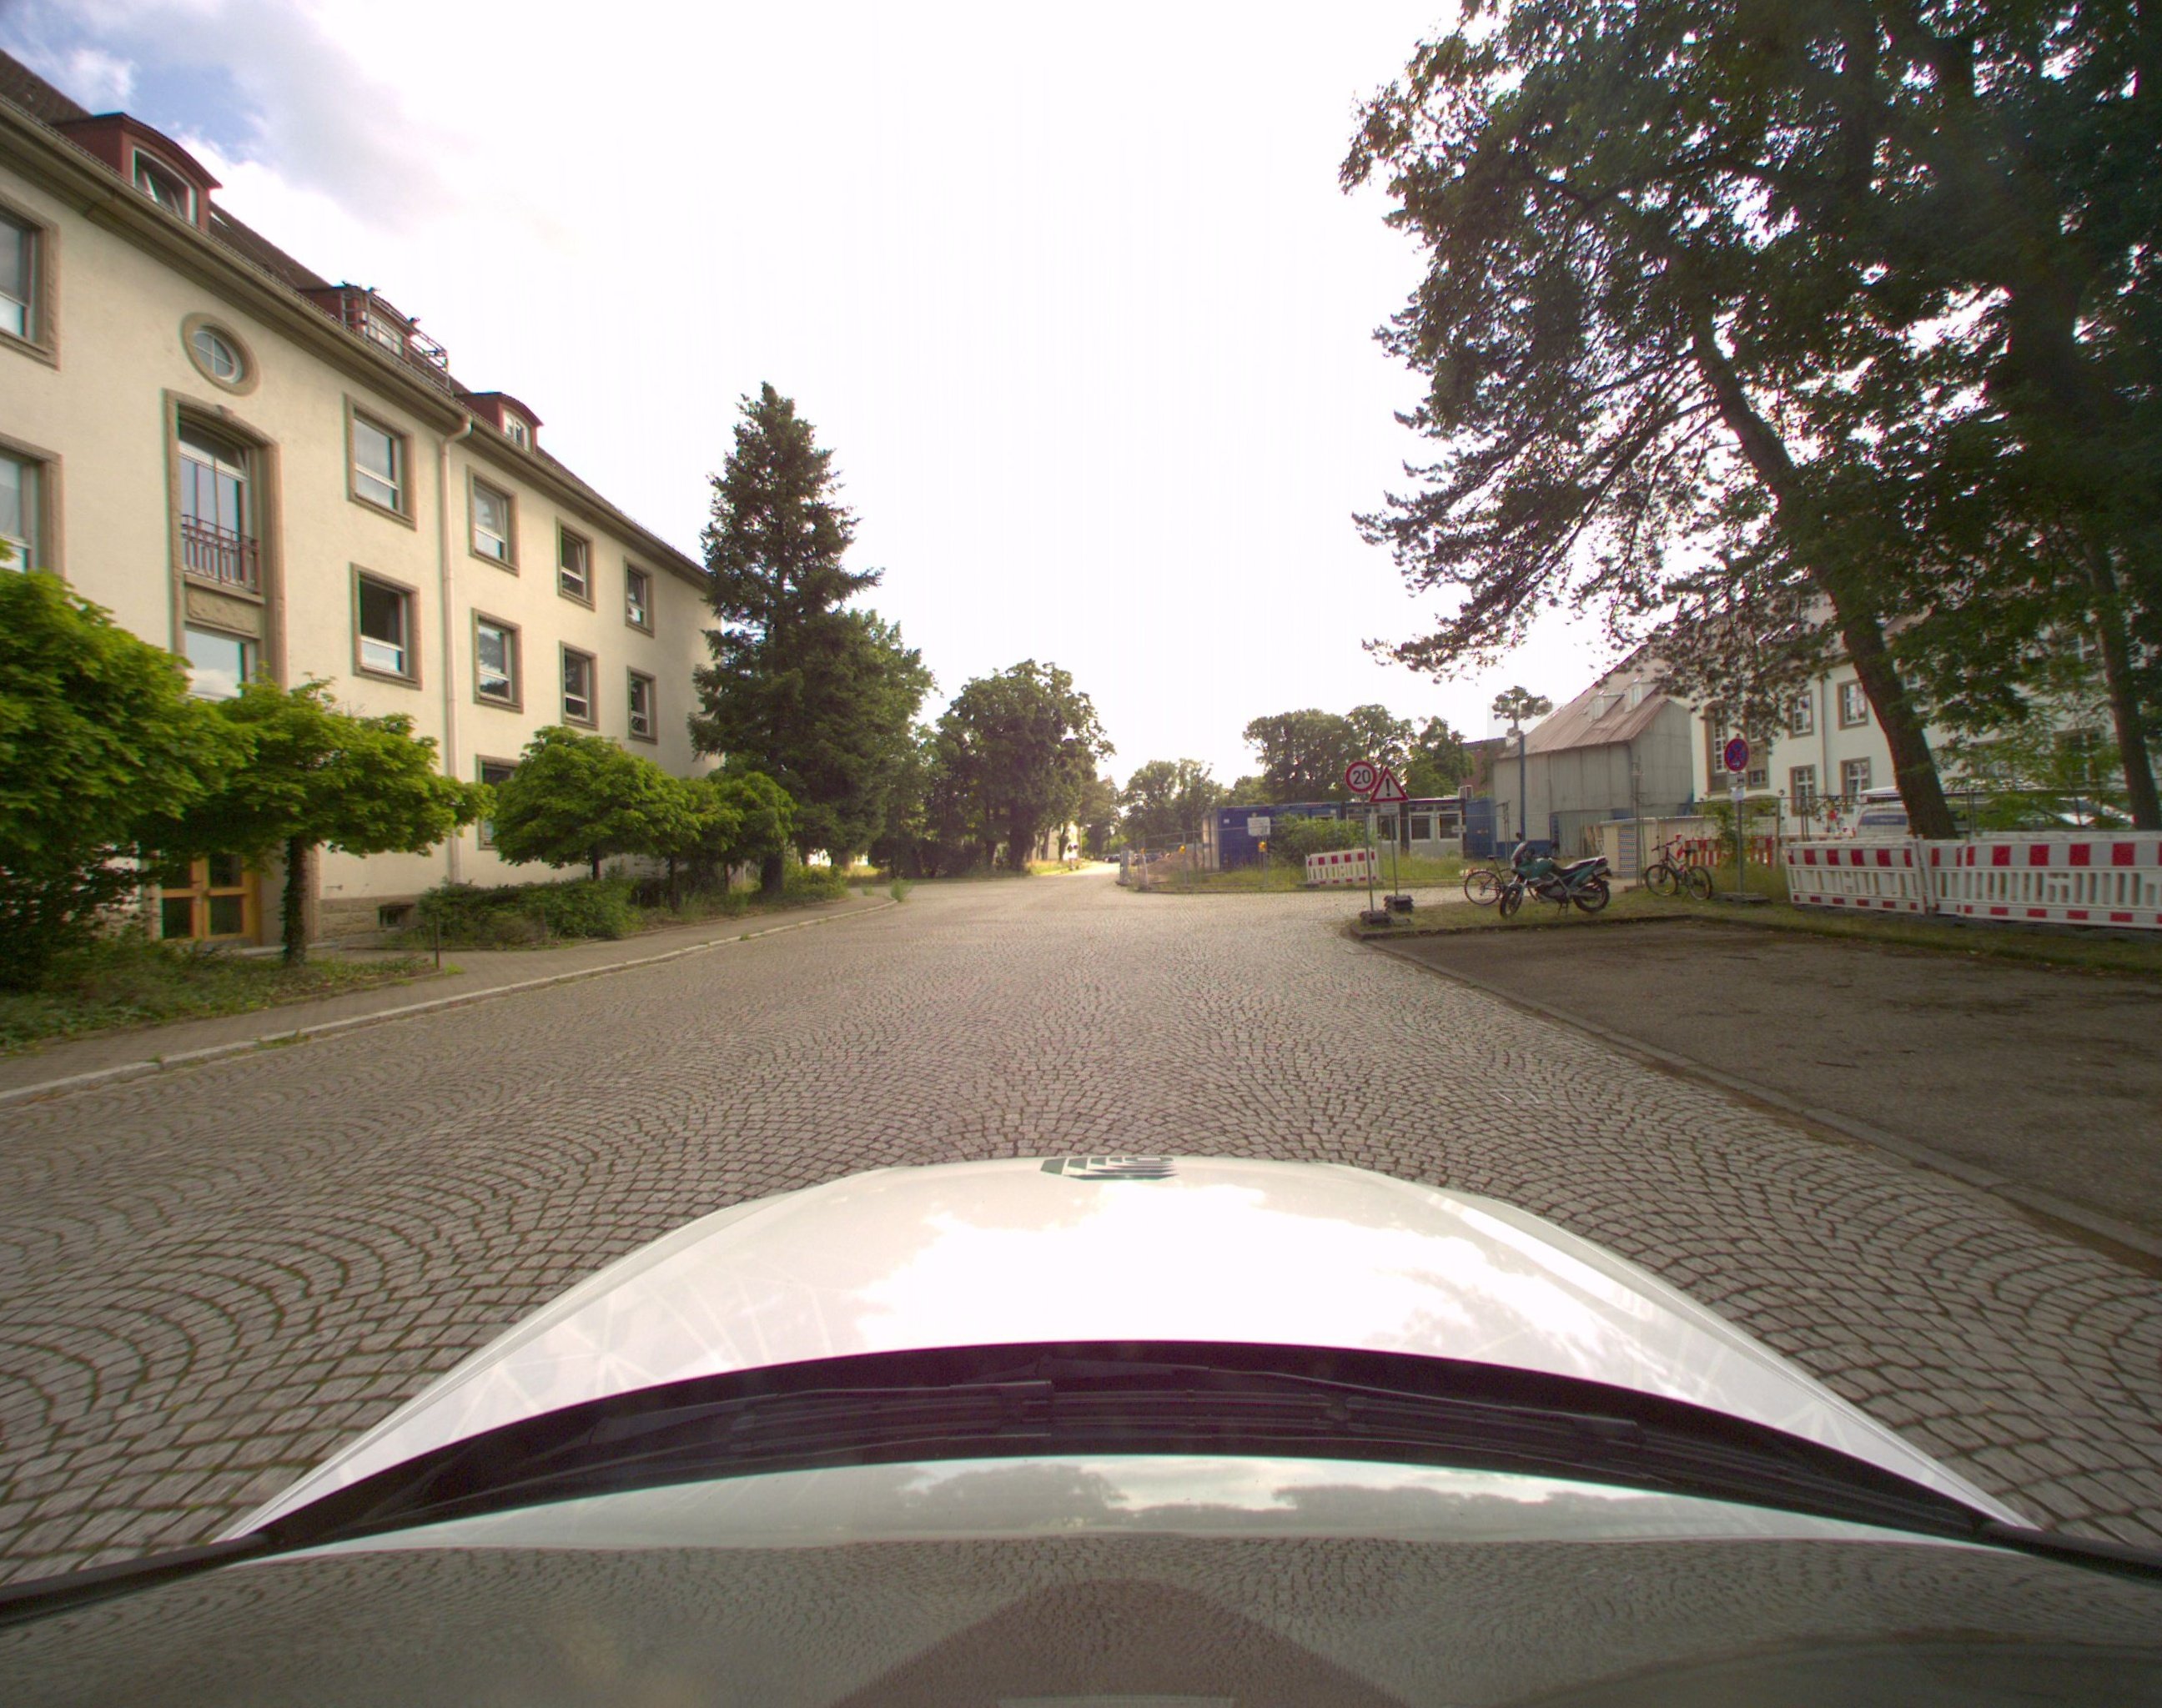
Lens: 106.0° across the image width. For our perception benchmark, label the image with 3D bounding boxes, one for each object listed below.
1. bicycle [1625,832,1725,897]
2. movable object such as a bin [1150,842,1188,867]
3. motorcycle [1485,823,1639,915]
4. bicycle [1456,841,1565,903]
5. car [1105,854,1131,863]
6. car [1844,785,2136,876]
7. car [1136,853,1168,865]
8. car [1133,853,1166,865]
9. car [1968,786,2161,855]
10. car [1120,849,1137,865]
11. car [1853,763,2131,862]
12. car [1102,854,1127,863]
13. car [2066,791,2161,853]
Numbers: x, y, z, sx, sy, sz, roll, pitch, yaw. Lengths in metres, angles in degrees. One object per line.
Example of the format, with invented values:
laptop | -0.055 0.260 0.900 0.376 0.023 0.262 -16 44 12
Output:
bicycle | 11.538 0.190 15.898 0.639 1.169 1.907 -3 0 5
movable object such as a bin | 9.564 0.038 88.249 2.108 2.593 4.821 -2 0 32
motorcycle | 8.512 0.250 14.458 2.271 1.485 0.756 -3 0 -3
bicycle | 8.818 0.379 16.804 1.882 1.197 0.659 -3 0 22
car | 7.094 0.872 157.014 4.768 1.641 1.998 -2 0 -3
car | 22.109 -0.563 19.980 4.837 1.920 1.909 -2 1 3
car | 10.113 0.701 115.597 4.374 1.510 2.006 -1 0 10
car | 9.489 0.701 112.851 4.374 1.510 2.006 -1 0 10
car | 29.927 -0.912 24.263 1.984 1.825 4.882 -1 0 6
car | 6.160 0.407 105.711 1.986 2.014 4.092 -2 0 2
car | 26.563 -1.076 24.214 1.984 2.556 5.918 -1 0 5
car | 6.720 0.888 163.402 4.768 1.641 1.998 -2 0 -3
car | 33.038 -0.953 24.158 1.984 1.825 4.881 -1 0 5
